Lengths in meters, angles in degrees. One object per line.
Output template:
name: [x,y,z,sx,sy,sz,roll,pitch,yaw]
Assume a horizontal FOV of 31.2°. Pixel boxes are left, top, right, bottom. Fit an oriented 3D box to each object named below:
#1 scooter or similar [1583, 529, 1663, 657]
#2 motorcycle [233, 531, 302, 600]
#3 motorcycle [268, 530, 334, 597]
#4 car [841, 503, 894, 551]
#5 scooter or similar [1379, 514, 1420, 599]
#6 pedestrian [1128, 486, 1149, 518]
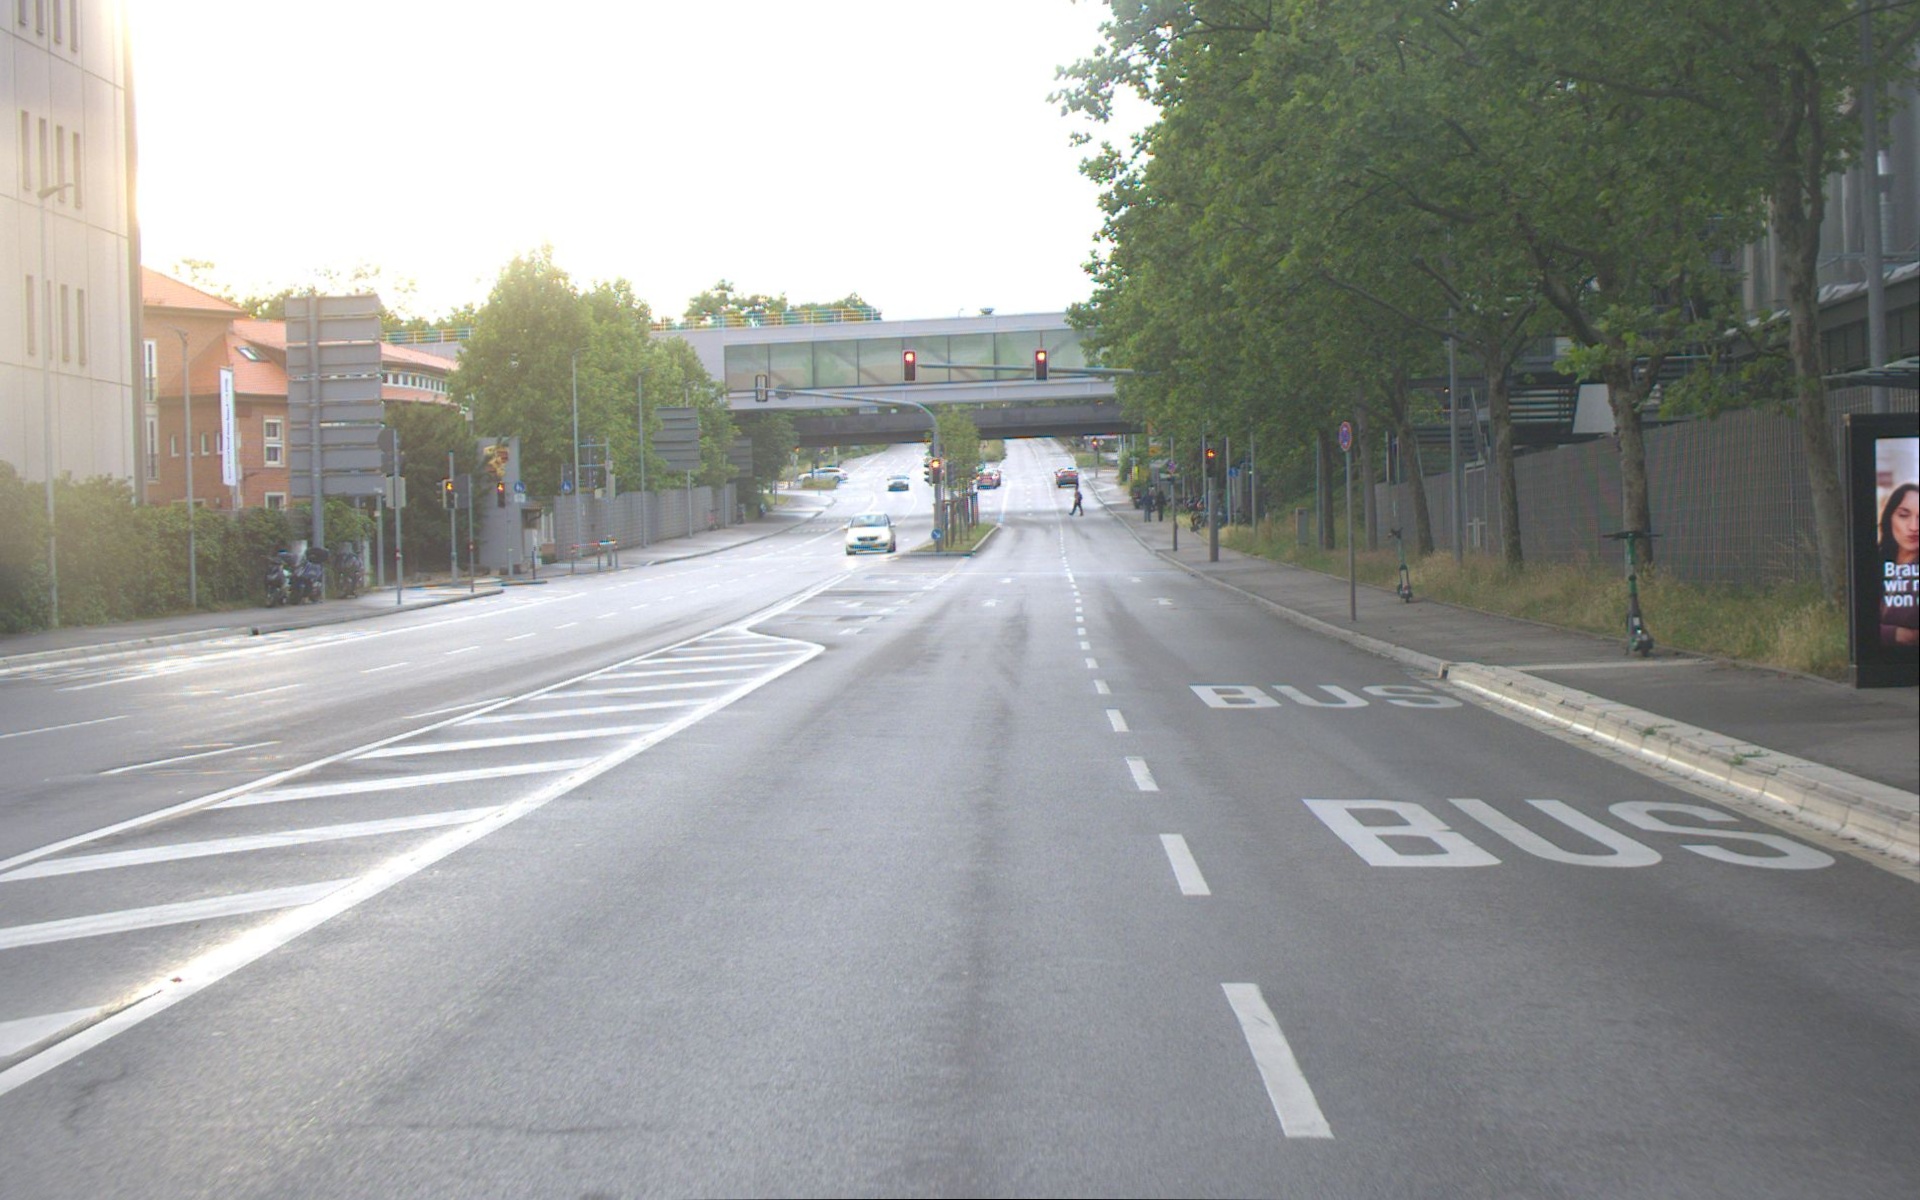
scooter or similar: [6.726,-0.088,34.829,0.699,1.240,1.920,-1,1,13]
motorcycle: [-15.900,-0.802,79.016,0.913,1.527,3.300,-2,1,-1]
motorcycle: [-15.819,-0.893,82.599,0.959,1.550,3.300,-2,1,-1]
car: [-3.589,-2.813,132.912,1.993,1.766,4.001,-1,1,-2]
scooter or similar: [7.261,-0.734,56.889,0.609,1.361,1.921,-1,1,6]
pedestrian: [11.333,-6.239,218.271,1.057,2.007,1.150,-1,1,12]
